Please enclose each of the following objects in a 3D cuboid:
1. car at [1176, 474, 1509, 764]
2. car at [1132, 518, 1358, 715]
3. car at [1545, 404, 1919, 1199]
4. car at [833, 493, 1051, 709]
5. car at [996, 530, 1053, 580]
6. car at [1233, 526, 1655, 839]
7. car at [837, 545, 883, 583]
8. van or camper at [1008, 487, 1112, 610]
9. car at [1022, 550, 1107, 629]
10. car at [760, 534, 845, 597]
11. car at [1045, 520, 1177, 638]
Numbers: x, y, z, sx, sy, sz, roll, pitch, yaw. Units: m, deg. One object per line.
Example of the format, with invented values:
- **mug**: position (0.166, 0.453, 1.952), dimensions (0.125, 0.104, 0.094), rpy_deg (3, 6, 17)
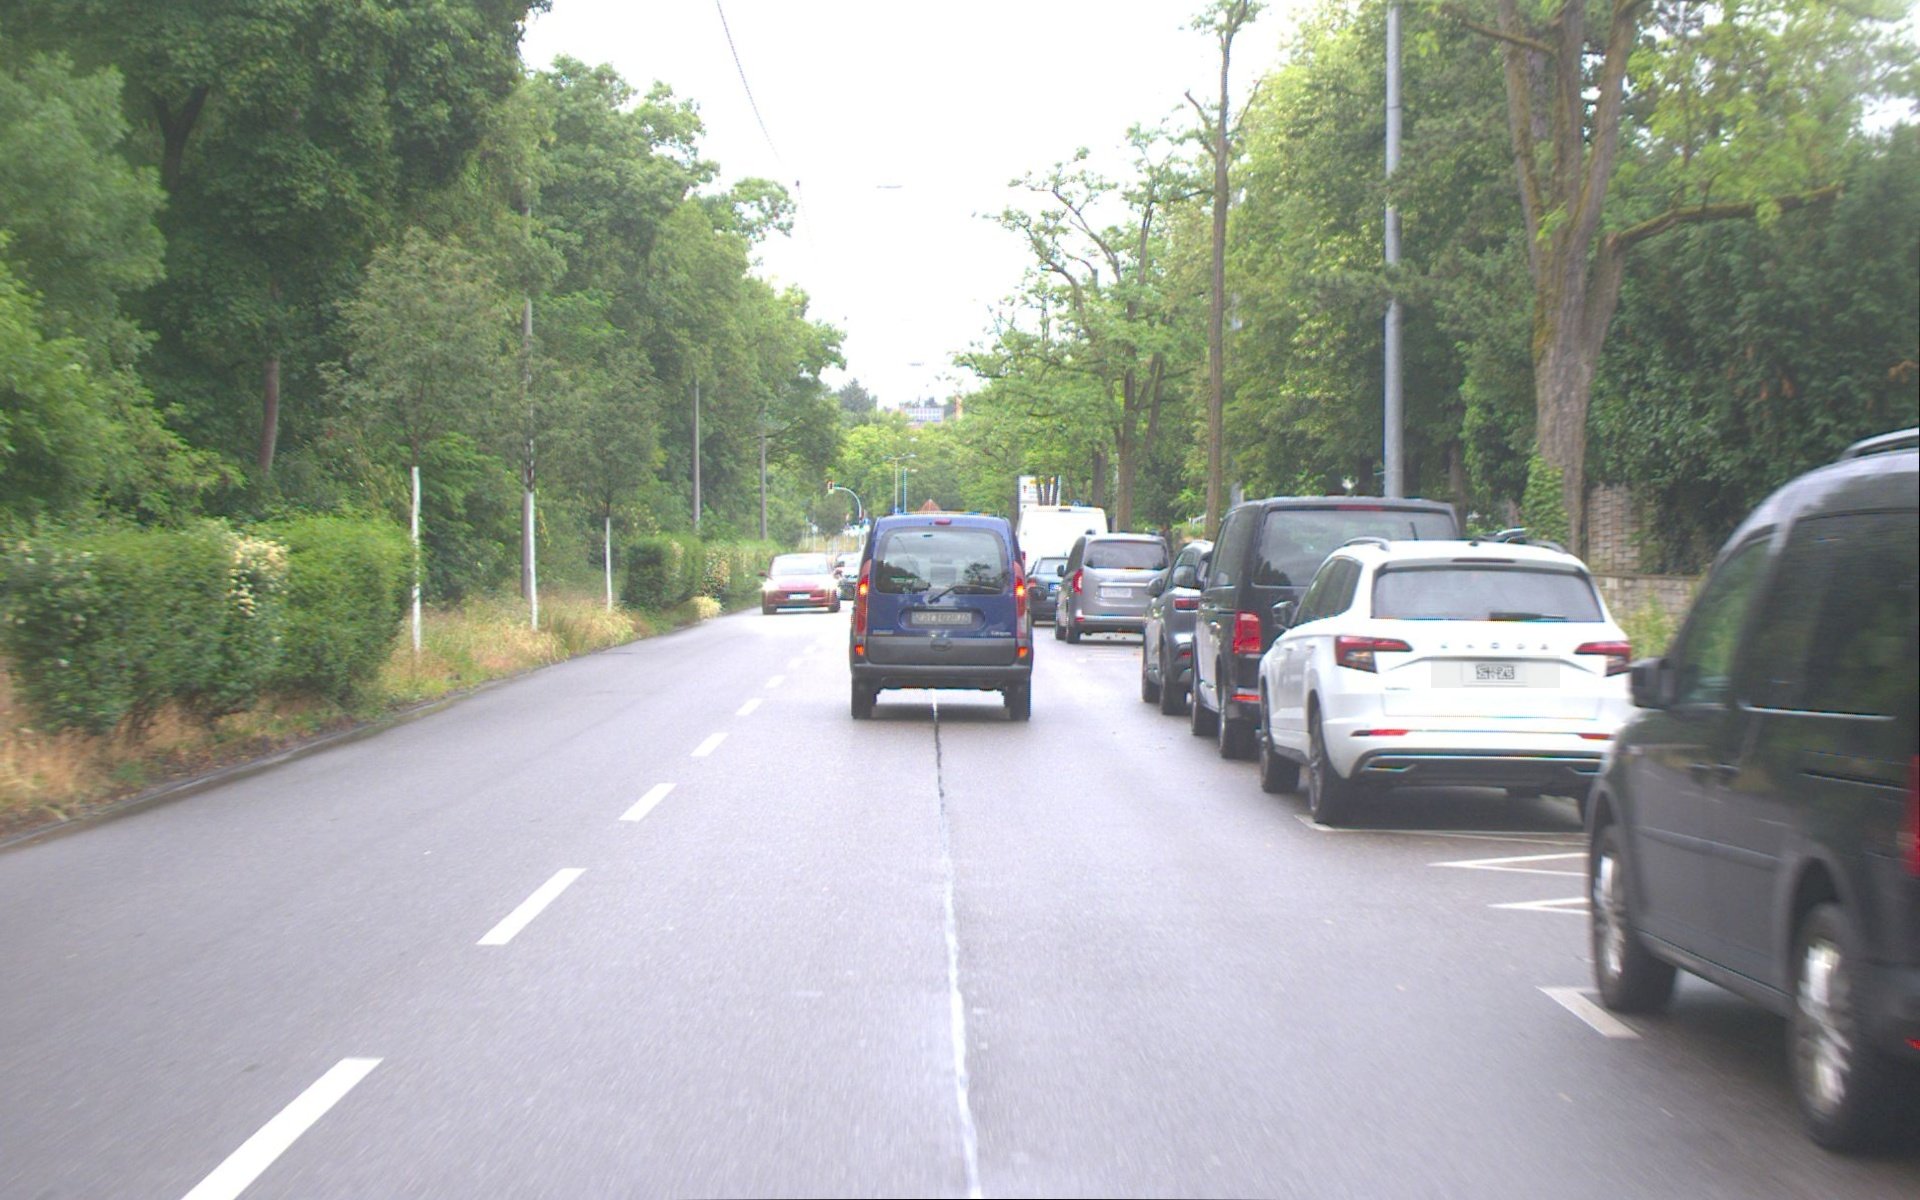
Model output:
- **car**: position (2.867, 0.067, 26.839), dimensions (1.993, 2.006, 4.888), rpy_deg (1, 2, 0)
- **car**: position (2.689, 0.099, 33.289), dimensions (1.773, 1.717, 4.327), rpy_deg (1, 2, 0)
- **car**: position (2.961, 0.435, 9.951), dimensions (1.730, 1.841, 4.230), rpy_deg (1, 2, 0)
- **car**: position (-0.223, -0.042, 31.494), dimensions (1.766, 1.824, 3.543), rpy_deg (1, 2, -3)
- **car**: position (2.061, -1.472, 110.706), dimensions (1.721, 1.500, 4.050), rpy_deg (1, 2, 0)
- **car**: position (2.762, 0.397, 20.549), dimensions (1.804, 1.607, 4.287), rpy_deg (1, 2, -1)
- **car**: position (-3.983, -1.419, 137.418), dimensions (1.783, 1.474, 3.968), rpy_deg (0, 0, -1)
- **van or camper**: position (2.229, -1.197, 77.855), dimensions (2.078, 2.641, 5.346), rpy_deg (1, 2, -1)
- **car**: position (2.140, -0.238, 69.740), dimensions (1.626, 1.459, 3.807), rpy_deg (2, 2, 3)
- **car**: position (-3.833, -0.855, 84.185), dimensions (1.860, 1.475, 4.156), rpy_deg (-1, 1, 0)
- **car**: position (2.469, -0.384, 57.125), dimensions (1.814, 1.807, 4.283), rpy_deg (1, 2, -2)
